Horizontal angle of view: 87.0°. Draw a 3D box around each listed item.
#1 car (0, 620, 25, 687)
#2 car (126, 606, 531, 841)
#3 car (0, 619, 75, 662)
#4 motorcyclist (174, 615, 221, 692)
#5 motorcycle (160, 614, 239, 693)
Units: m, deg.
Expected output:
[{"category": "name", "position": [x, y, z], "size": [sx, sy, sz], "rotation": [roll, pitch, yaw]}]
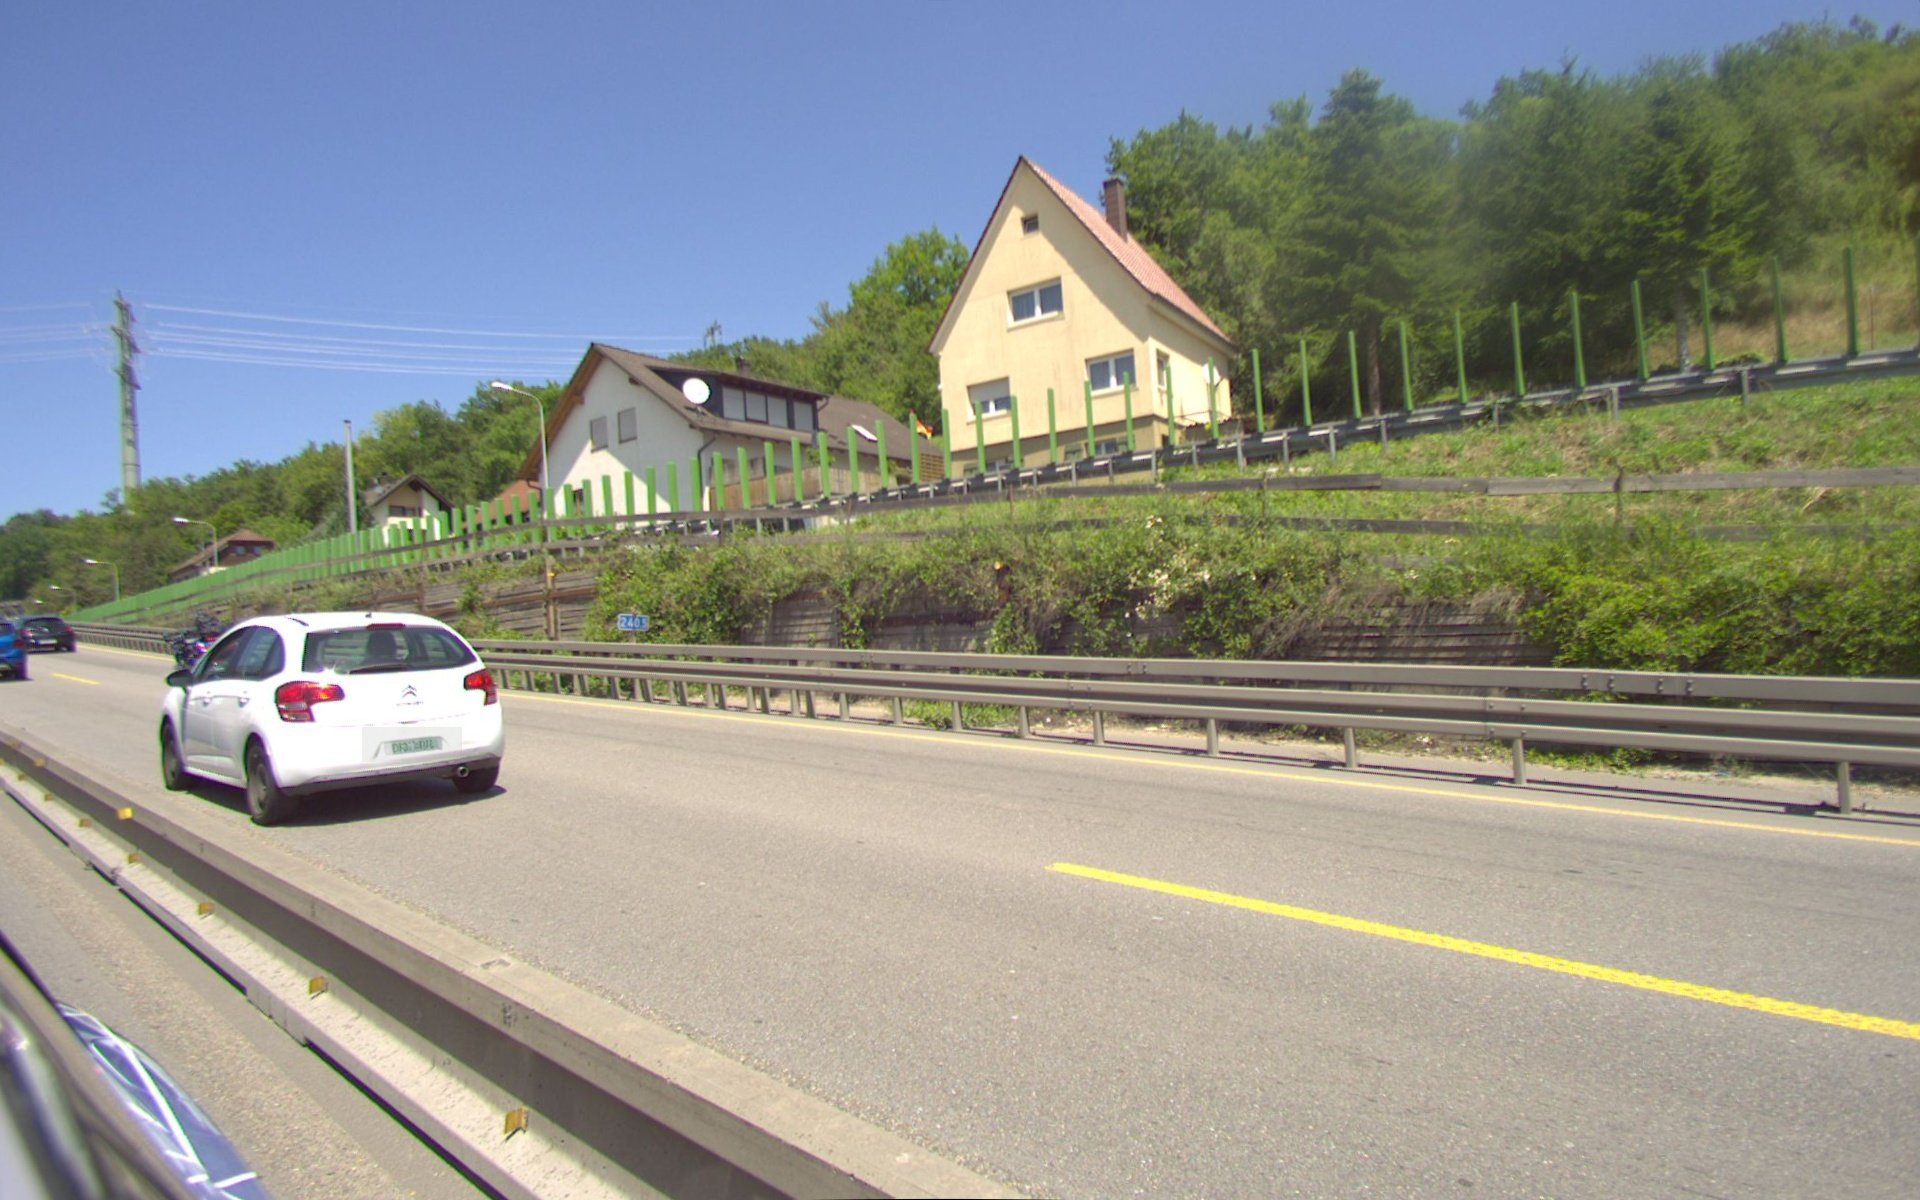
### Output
[{"category": "car", "position": [-24.836, 1.332, 25.240], "size": [3.888, 1.622, 1.746], "rotation": [-2, -1, 40]}, {"category": "car", "position": [-5.393, 0.840, 8.460], "size": [3.862, 1.497, 1.748], "rotation": [-2, -1, 40]}, {"category": "car", "position": [-36.603, 1.540, 39.873], "size": [5.003, 1.459, 1.796], "rotation": [-1, 2, 40]}, {"category": "motorcyclist", "position": [-16.194, 1.118, 21.496], "size": [0.736, 1.597, 0.658], "rotation": [-1, 0, 41]}, {"category": "motorcycle", "position": [-16.157, 1.114, 21.477], "size": [2.619, 1.563, 0.782], "rotation": [-3, -1, 41]}]
